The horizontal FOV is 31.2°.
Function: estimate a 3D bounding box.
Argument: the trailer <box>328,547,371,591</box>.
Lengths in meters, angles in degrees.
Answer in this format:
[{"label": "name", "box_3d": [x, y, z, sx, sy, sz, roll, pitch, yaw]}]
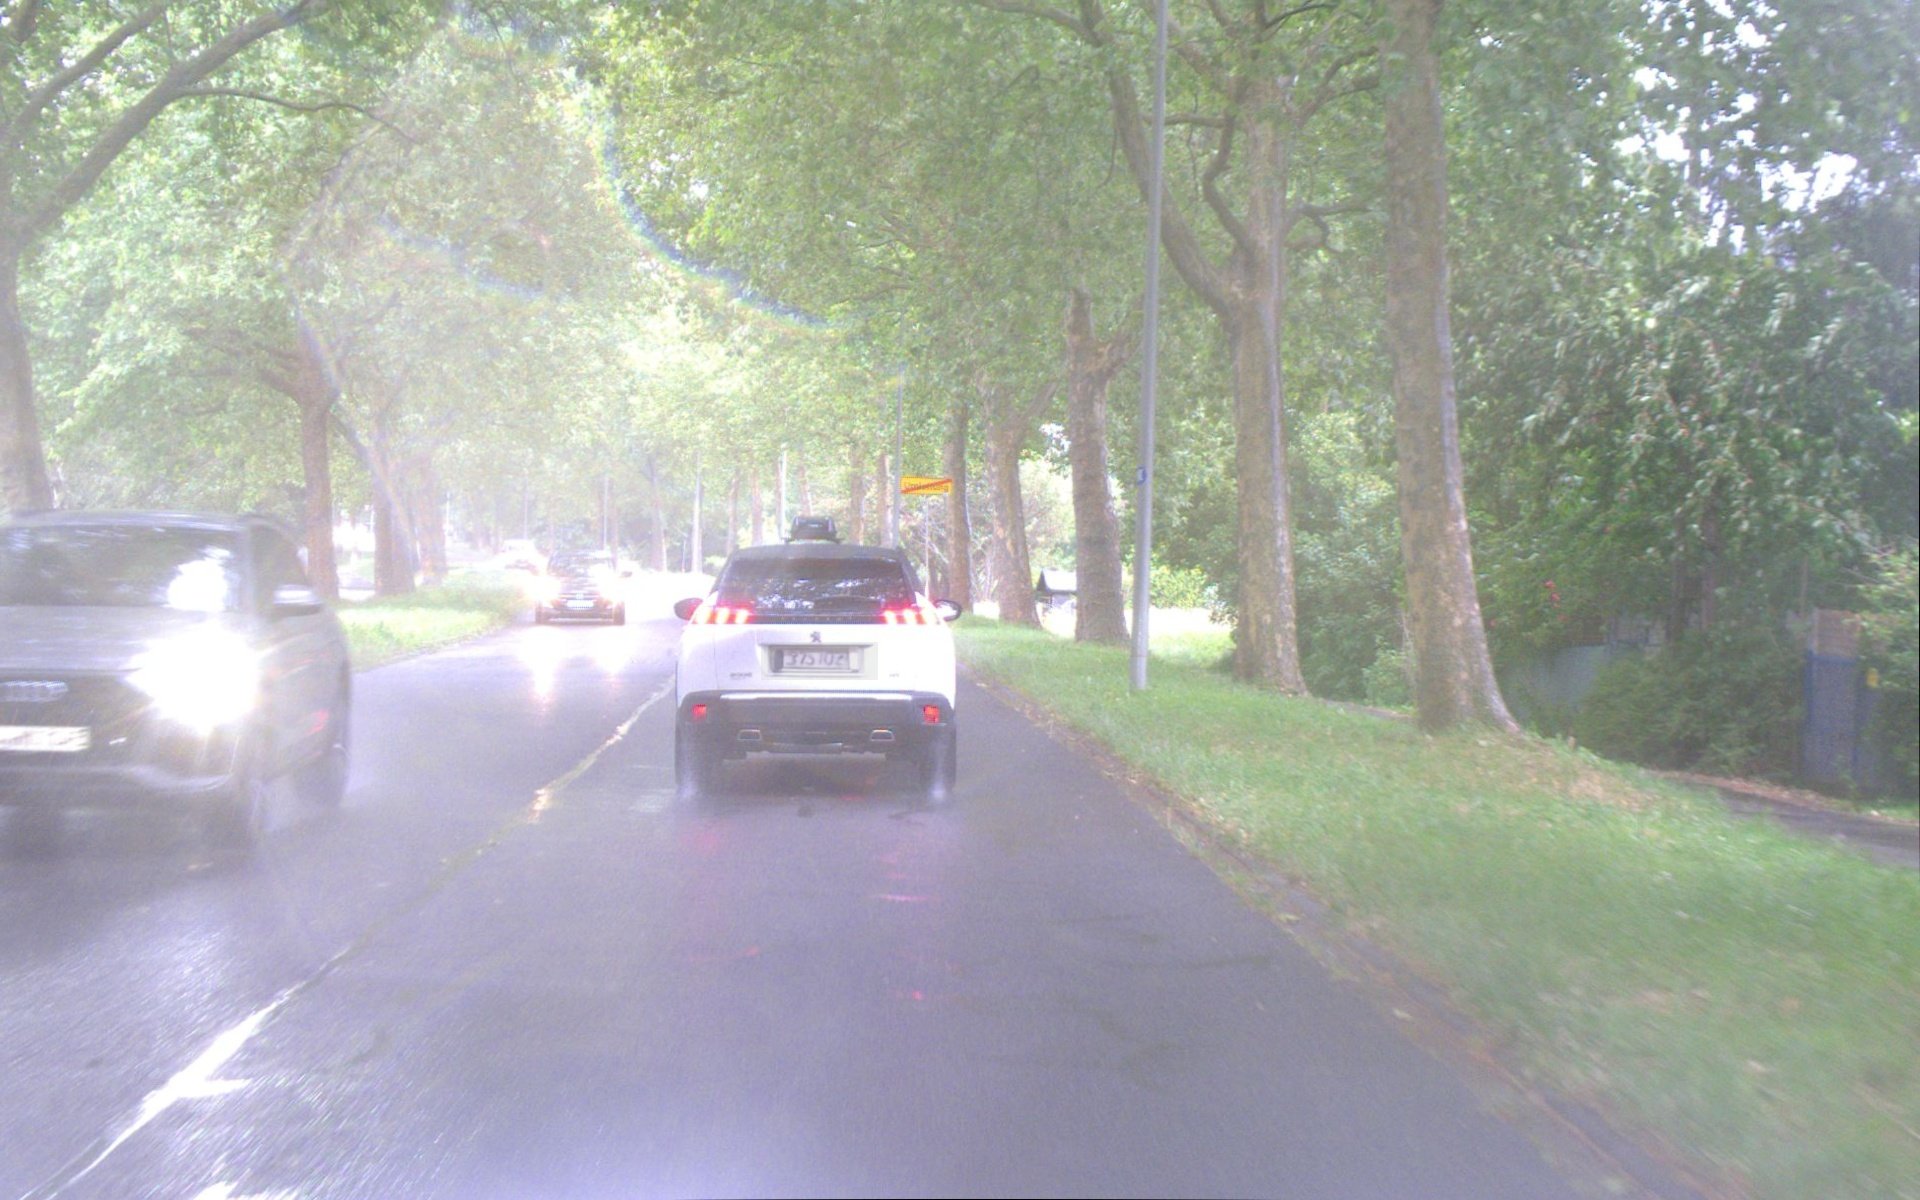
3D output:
[{"label": "trailer", "box_3d": [-38.073, -1.950, 214.350, 2.484, 2.558, 5.334, 1, 1, -11]}]

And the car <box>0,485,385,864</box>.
[{"label": "car", "box_3d": [-4.261, 0.297, 18.065, 1.808, 1.722, 4.455, 2, 1, -2]}]

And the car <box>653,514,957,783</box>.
[{"label": "car", "box_3d": [-1.006, 0.248, 22.643, 1.793, 1.573, 3.845, 1, 1, -2]}]

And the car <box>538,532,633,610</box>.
[{"label": "car", "box_3d": [-7.607, -0.612, 70.069, 1.845, 1.497, 4.001, 1, 1, -6]}]
